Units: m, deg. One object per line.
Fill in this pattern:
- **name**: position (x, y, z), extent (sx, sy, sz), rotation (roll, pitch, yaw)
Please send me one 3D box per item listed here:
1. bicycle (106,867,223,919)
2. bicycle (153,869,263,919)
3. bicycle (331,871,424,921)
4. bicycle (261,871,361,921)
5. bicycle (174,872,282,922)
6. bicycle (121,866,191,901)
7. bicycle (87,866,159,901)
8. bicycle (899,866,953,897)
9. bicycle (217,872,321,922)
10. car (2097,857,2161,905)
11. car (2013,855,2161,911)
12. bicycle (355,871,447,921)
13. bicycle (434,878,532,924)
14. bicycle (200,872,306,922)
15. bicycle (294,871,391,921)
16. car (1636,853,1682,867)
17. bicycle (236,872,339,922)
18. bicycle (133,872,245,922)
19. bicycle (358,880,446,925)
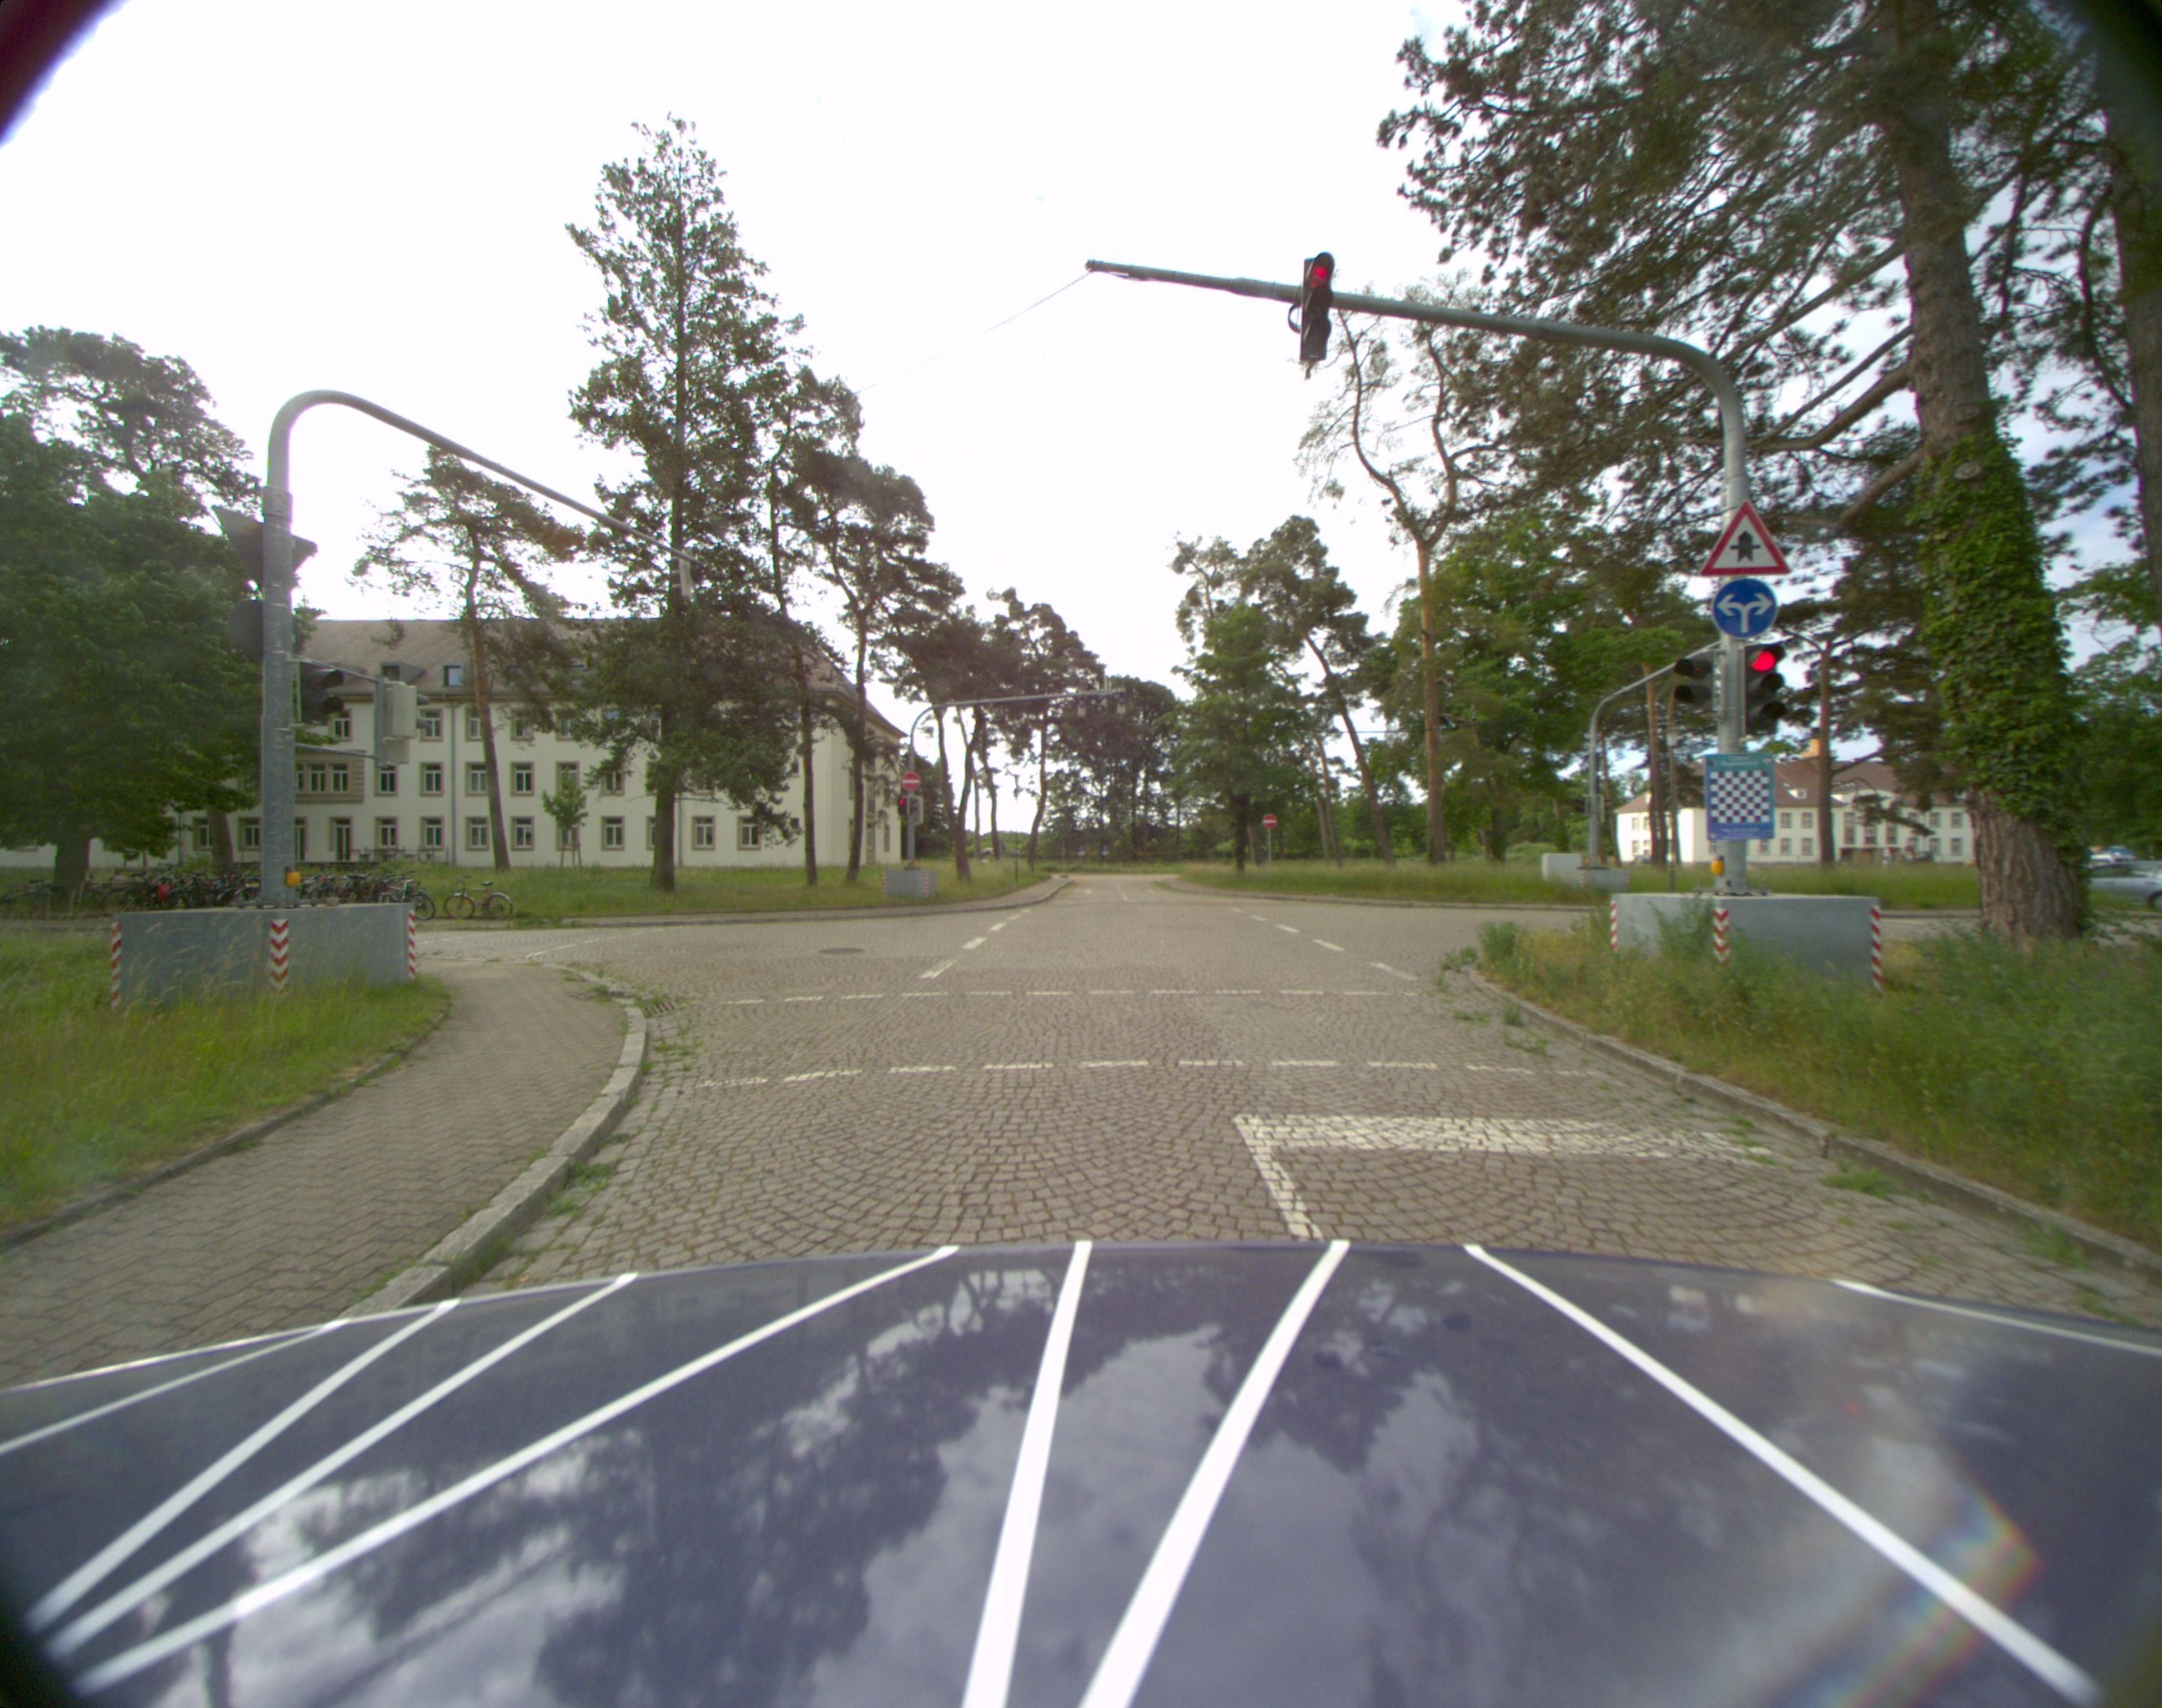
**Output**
- **bicycle**: position (-24.277, 1.002, 20.188), extent (0.624, 1.241, 1.988), rotation (-1, 2, 0)
- **bicycle**: position (-23.124, 1.023, 20.187), extent (0.624, 1.240, 1.989), rotation (-1, -1, 0)
- **bicycle**: position (-18.590, 1.075, 20.145), extent (0.624, 1.240, 1.989), rotation (-1, -1, 0)
- **bicycle**: position (-20.374, 1.091, 20.160), extent (0.624, 1.240, 1.989), rotation (-1, -1, 0)
- **bicycle**: position (-22.609, 1.112, 20.201), extent (0.624, 1.240, 1.989), rotation (-1, -1, 0)
- **bicycle**: position (-31.299, 0.981, 25.732), extent (0.400, 1.118, 1.554), rotation (0, 0, 4)
- **bicycle**: position (-32.526, 0.991, 25.830), extent (0.400, 1.118, 1.554), rotation (0, 0, 4)
- **bicycle**: position (-5.307, 0.936, 26.030), extent (1.675, 0.965, 0.582), rotation (2, 3, 6)
- **bicycle**: position (-21.531, 1.102, 20.200), extent (0.624, 1.240, 1.989), rotation (-1, -1, 0)
- **car**: position (33.416, 0.890, 22.128), extent (1.662, 1.376, 4.440), rotation (0, 3, 1)
- **car**: position (30.798, 0.817, 22.379), extent (1.696, 1.421, 4.012), rotation (0, 3, 1)
- **bicycle**: position (-17.961, 1.069, 20.135), extent (0.624, 1.240, 1.989), rotation (-1, -1, 0)
- **bicycle**: position (-14.645, 1.144, 18.629), extent (1.986, 1.107, 0.624), rotation (-1, 0, 5)
- **bicycle**: position (-21.883, 1.104, 20.147), extent (0.624, 1.240, 1.989), rotation (-1, -1, 0)
- **bicycle**: position (-19.516, 1.083, 20.146), extent (0.624, 1.240, 1.989), rotation (-1, -1, 0)
- **car**: position (84.541, 0.952, 111.305), extent (2.194, 1.949, 5.796), rotation (0, -1, -2)
- **bicycle**: position (-21.007, 1.097, 20.176), extent (0.624, 1.240, 1.989), rotation (-1, -1, 0)
- **bicycle**: position (-23.617, 1.121, 20.178), extent (0.624, 1.240, 1.989), rotation (-1, -1, 0)
- **bicycle**: position (-16.601, 1.177, 18.594), extent (1.675, 1.076, 0.624), rotation (-1, 0, 6)
